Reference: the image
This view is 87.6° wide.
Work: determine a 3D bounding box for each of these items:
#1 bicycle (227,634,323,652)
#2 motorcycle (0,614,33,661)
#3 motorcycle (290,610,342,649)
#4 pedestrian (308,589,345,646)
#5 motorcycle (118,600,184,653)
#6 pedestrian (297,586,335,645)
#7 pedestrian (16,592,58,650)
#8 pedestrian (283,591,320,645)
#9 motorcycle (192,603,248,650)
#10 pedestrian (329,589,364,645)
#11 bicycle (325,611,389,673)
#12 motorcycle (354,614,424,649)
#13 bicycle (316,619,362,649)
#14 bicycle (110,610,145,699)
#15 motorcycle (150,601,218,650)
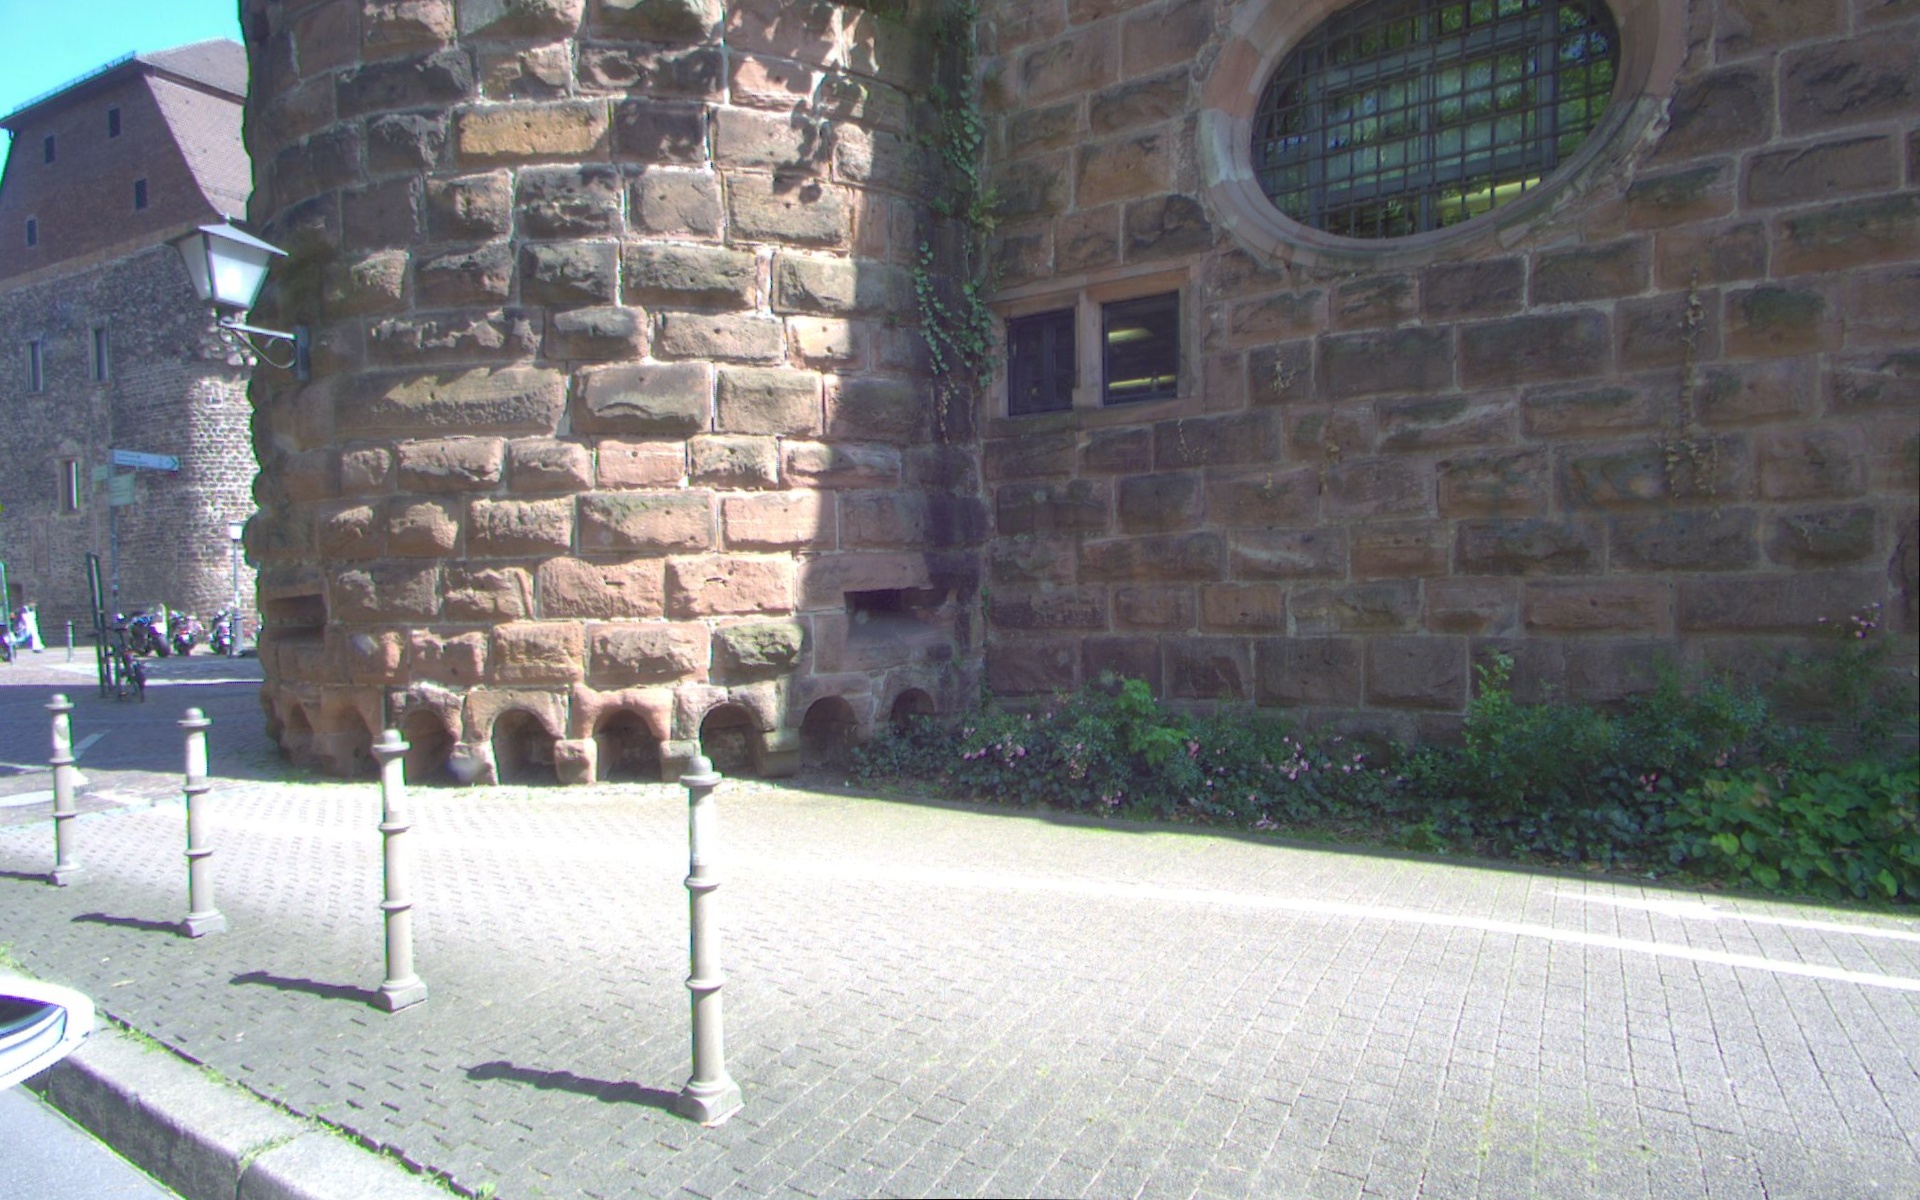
[{"bbox_3d":[-17.519,1.094,25.616,1.916,0.386,0.909,0,-2,-44],"label":"bicycle"},{"bbox_3d":[-22.151,0.840,23.032,2.453,1.026,0.565,0,1,32],"label":"motorcycle"},{"bbox_3d":[-18.078,0.836,28.090,1.814,1.087,0.506,-1,-2,32],"label":"motorcycle"},{"bbox_3d":[-21.411,0.588,33.867,0.805,1.908,0.671,0,-1,5],"label":"pedestrian"},{"bbox_3d":[-20.575,0.680,25.448,2.169,1.282,0.654,-1,-1,32],"label":"motorcycle"},{"bbox_3d":[-22.574,0.537,35.123,0.861,2.039,0.732,0,-1,-6],"label":"pedestrian"},{"bbox_3d":[-27.394,0.618,29.725,0.799,1.684,0.651,-1,1,-35],"label":"pedestrian"},{"bbox_3d":[-22.463,0.615,34.174,0.830,1.826,0.654,0,0,-2],"label":"pedestrian"},{"bbox_3d":[-20.064,0.725,27.138,2.002,1.251,0.545,-1,-2,32],"label":"motorcycle"},{"bbox_3d":[-21.248,0.593,34.694,0.805,1.944,0.671,0,-1,-1],"label":"pedestrian"},{"bbox_3d":[-11.965,0.808,19.864,1.707,1.178,0.445,0,1,36],"label":"bicycle"},{"bbox_3d":[-17.942,0.989,31.506,0.474,1.067,1.858,-1,-2,40],"label":"motorcycle"},{"bbox_3d":[-18.375,1.001,29.612,1.898,0.831,0.353,0,-1,32],"label":"bicycle"},{"bbox_3d":[-12.040,0.756,14.472,1.750,1.220,0.192,0,1,44],"label":"bicycle"},{"bbox_3d":[-20.429,0.678,26.350,2.280,1.251,0.674,-1,-2,32],"label":"motorcycle"}]
